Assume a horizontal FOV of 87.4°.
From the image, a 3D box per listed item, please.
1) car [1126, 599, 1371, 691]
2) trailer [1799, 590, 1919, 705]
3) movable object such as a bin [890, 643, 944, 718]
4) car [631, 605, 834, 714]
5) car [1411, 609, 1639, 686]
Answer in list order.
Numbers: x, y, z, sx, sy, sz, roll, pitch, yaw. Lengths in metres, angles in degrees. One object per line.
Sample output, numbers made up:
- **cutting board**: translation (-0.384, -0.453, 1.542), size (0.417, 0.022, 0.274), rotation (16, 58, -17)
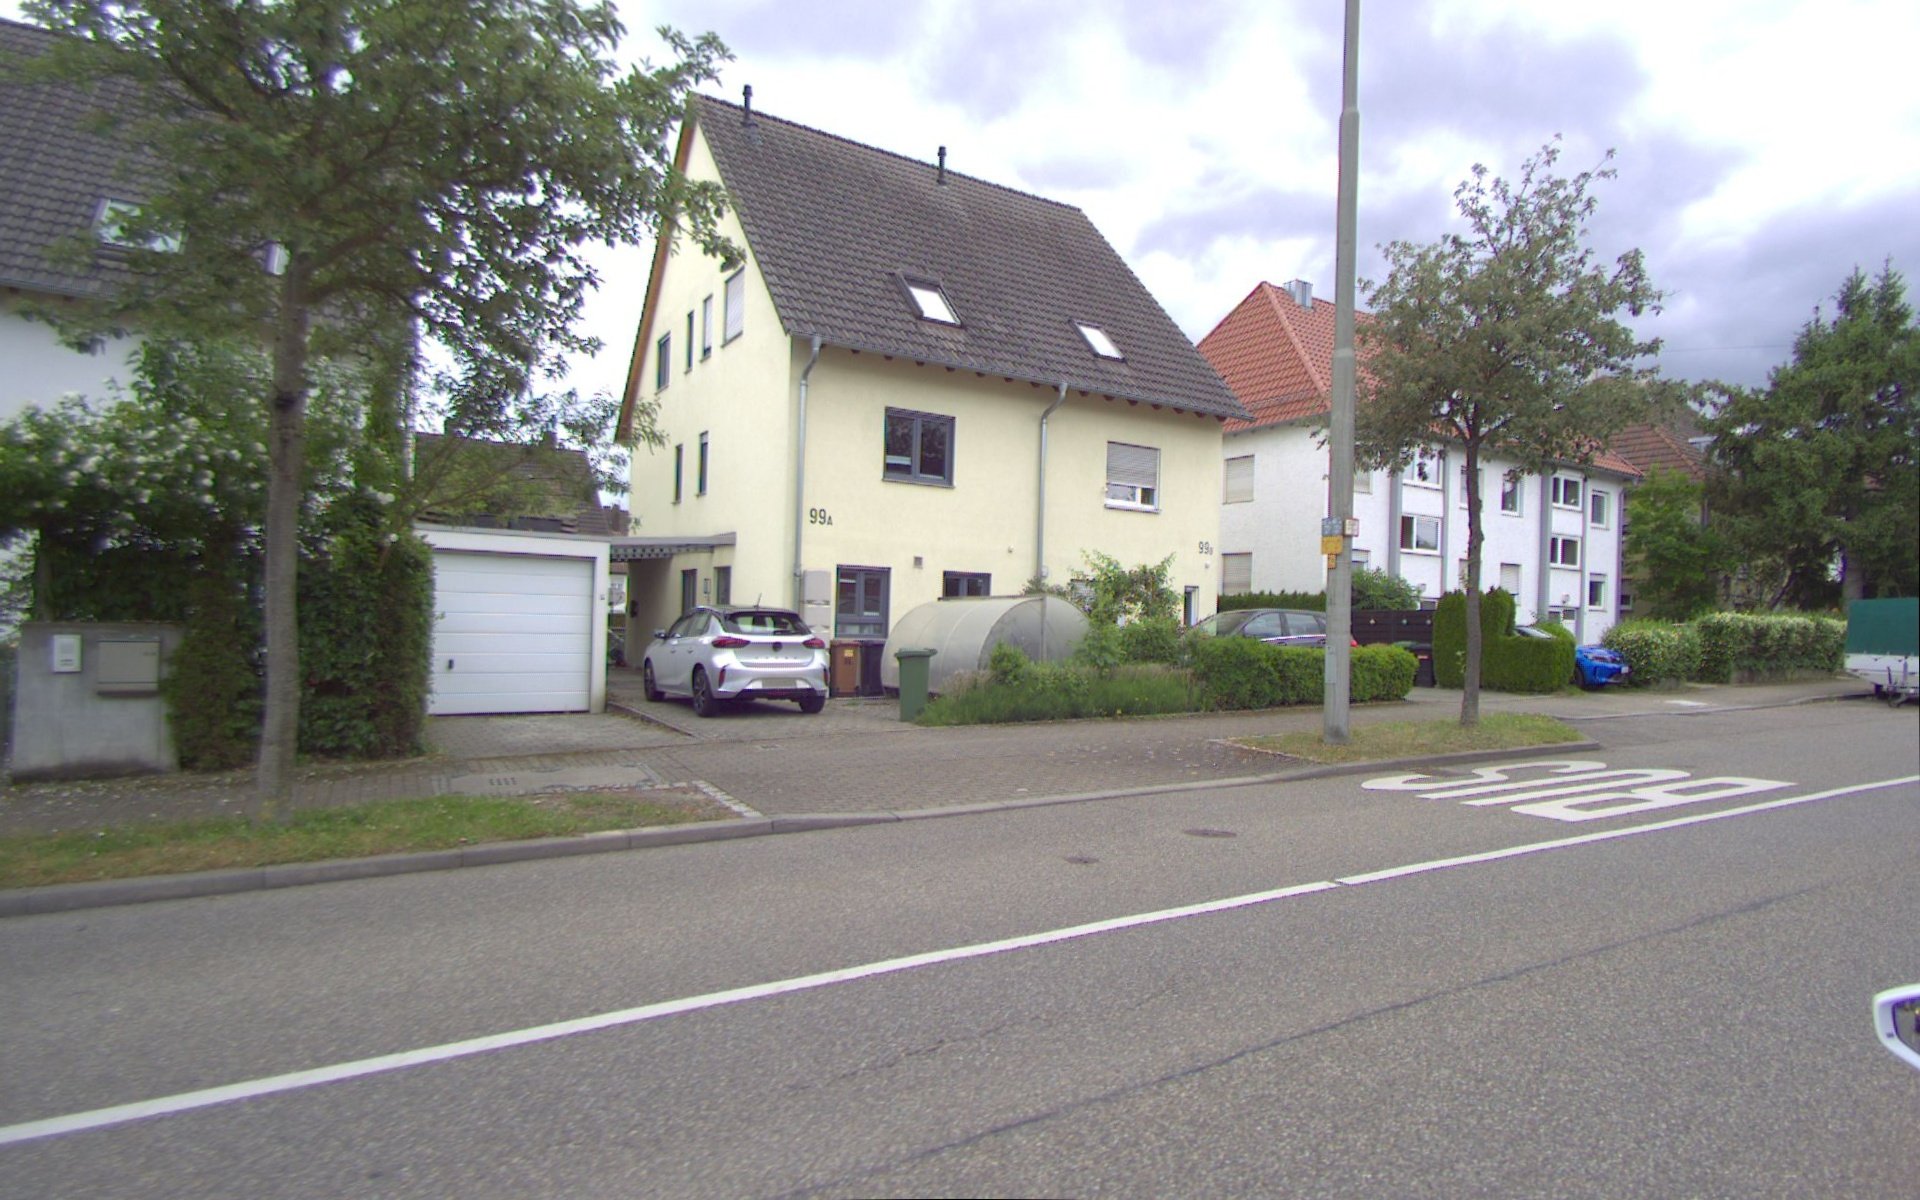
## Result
- **car**: translation (5.093, 0.787, 17.665), size (3.950, 1.436, 1.869), rotation (2, -1, -28)
- **trailer**: translation (20.082, 0.992, 20.907), size (5.809, 2.114, 2.299), rotation (3, 1, -32)
- **movable object such as a bin**: translation (-0.549, 1.019, 12.887), size (0.535, 0.913, 0.579), rotation (1, -2, 13)
- **car**: translation (-3.394, 0.760, 14.397), size (1.735, 1.303, 4.047), rotation (2, -1, -29)
- **car**: translation (12.057, 0.979, 21.649), size (1.565, 1.356, 3.953), rotation (3, 0, -40)
